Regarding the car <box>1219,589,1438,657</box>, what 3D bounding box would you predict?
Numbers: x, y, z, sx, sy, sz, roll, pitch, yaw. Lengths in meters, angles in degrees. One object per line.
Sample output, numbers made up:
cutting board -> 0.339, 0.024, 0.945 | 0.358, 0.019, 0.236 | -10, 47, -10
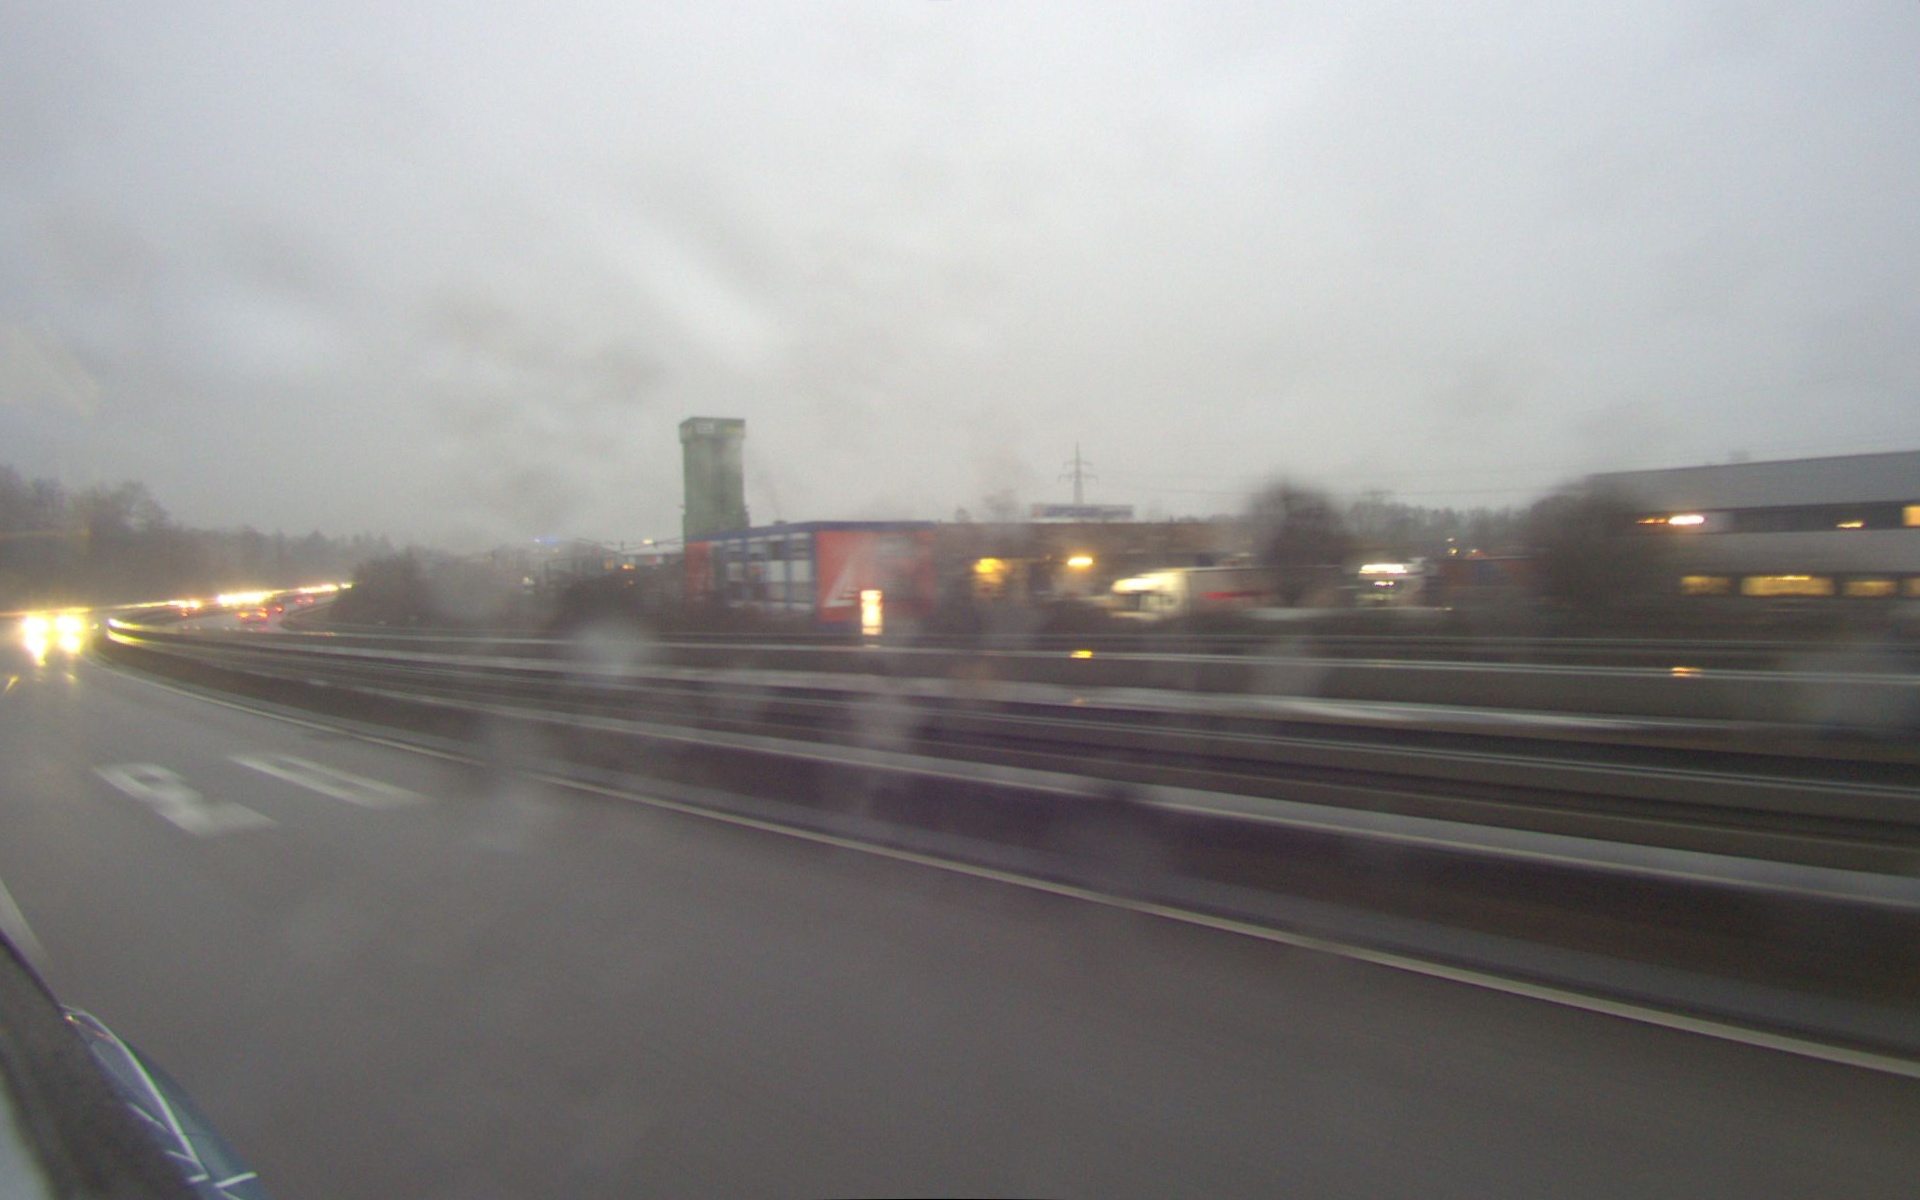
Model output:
car -> 11.973, 0.741, 33.153 | 6.474, 2.029, 1.977 | -1, -1, 34

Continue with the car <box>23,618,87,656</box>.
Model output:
car -> -54.623, 2.193, 61.180 | 1.966, 2.028, 4.013 | -3, 2, -29

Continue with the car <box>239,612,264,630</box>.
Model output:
car -> -58.721, 1.729, 83.901 | 1.649, 1.431, 4.091 | 0, -1, -35

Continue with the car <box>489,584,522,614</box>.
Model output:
car -> -51.793, -0.122, 115.217 | 3.147, 3.235, 9.972 | 1, 0, -26

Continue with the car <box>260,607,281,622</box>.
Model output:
car -> -79.756, 1.656, 117.052 | 1.967, 1.685, 4.440 | 0, -1, -34
